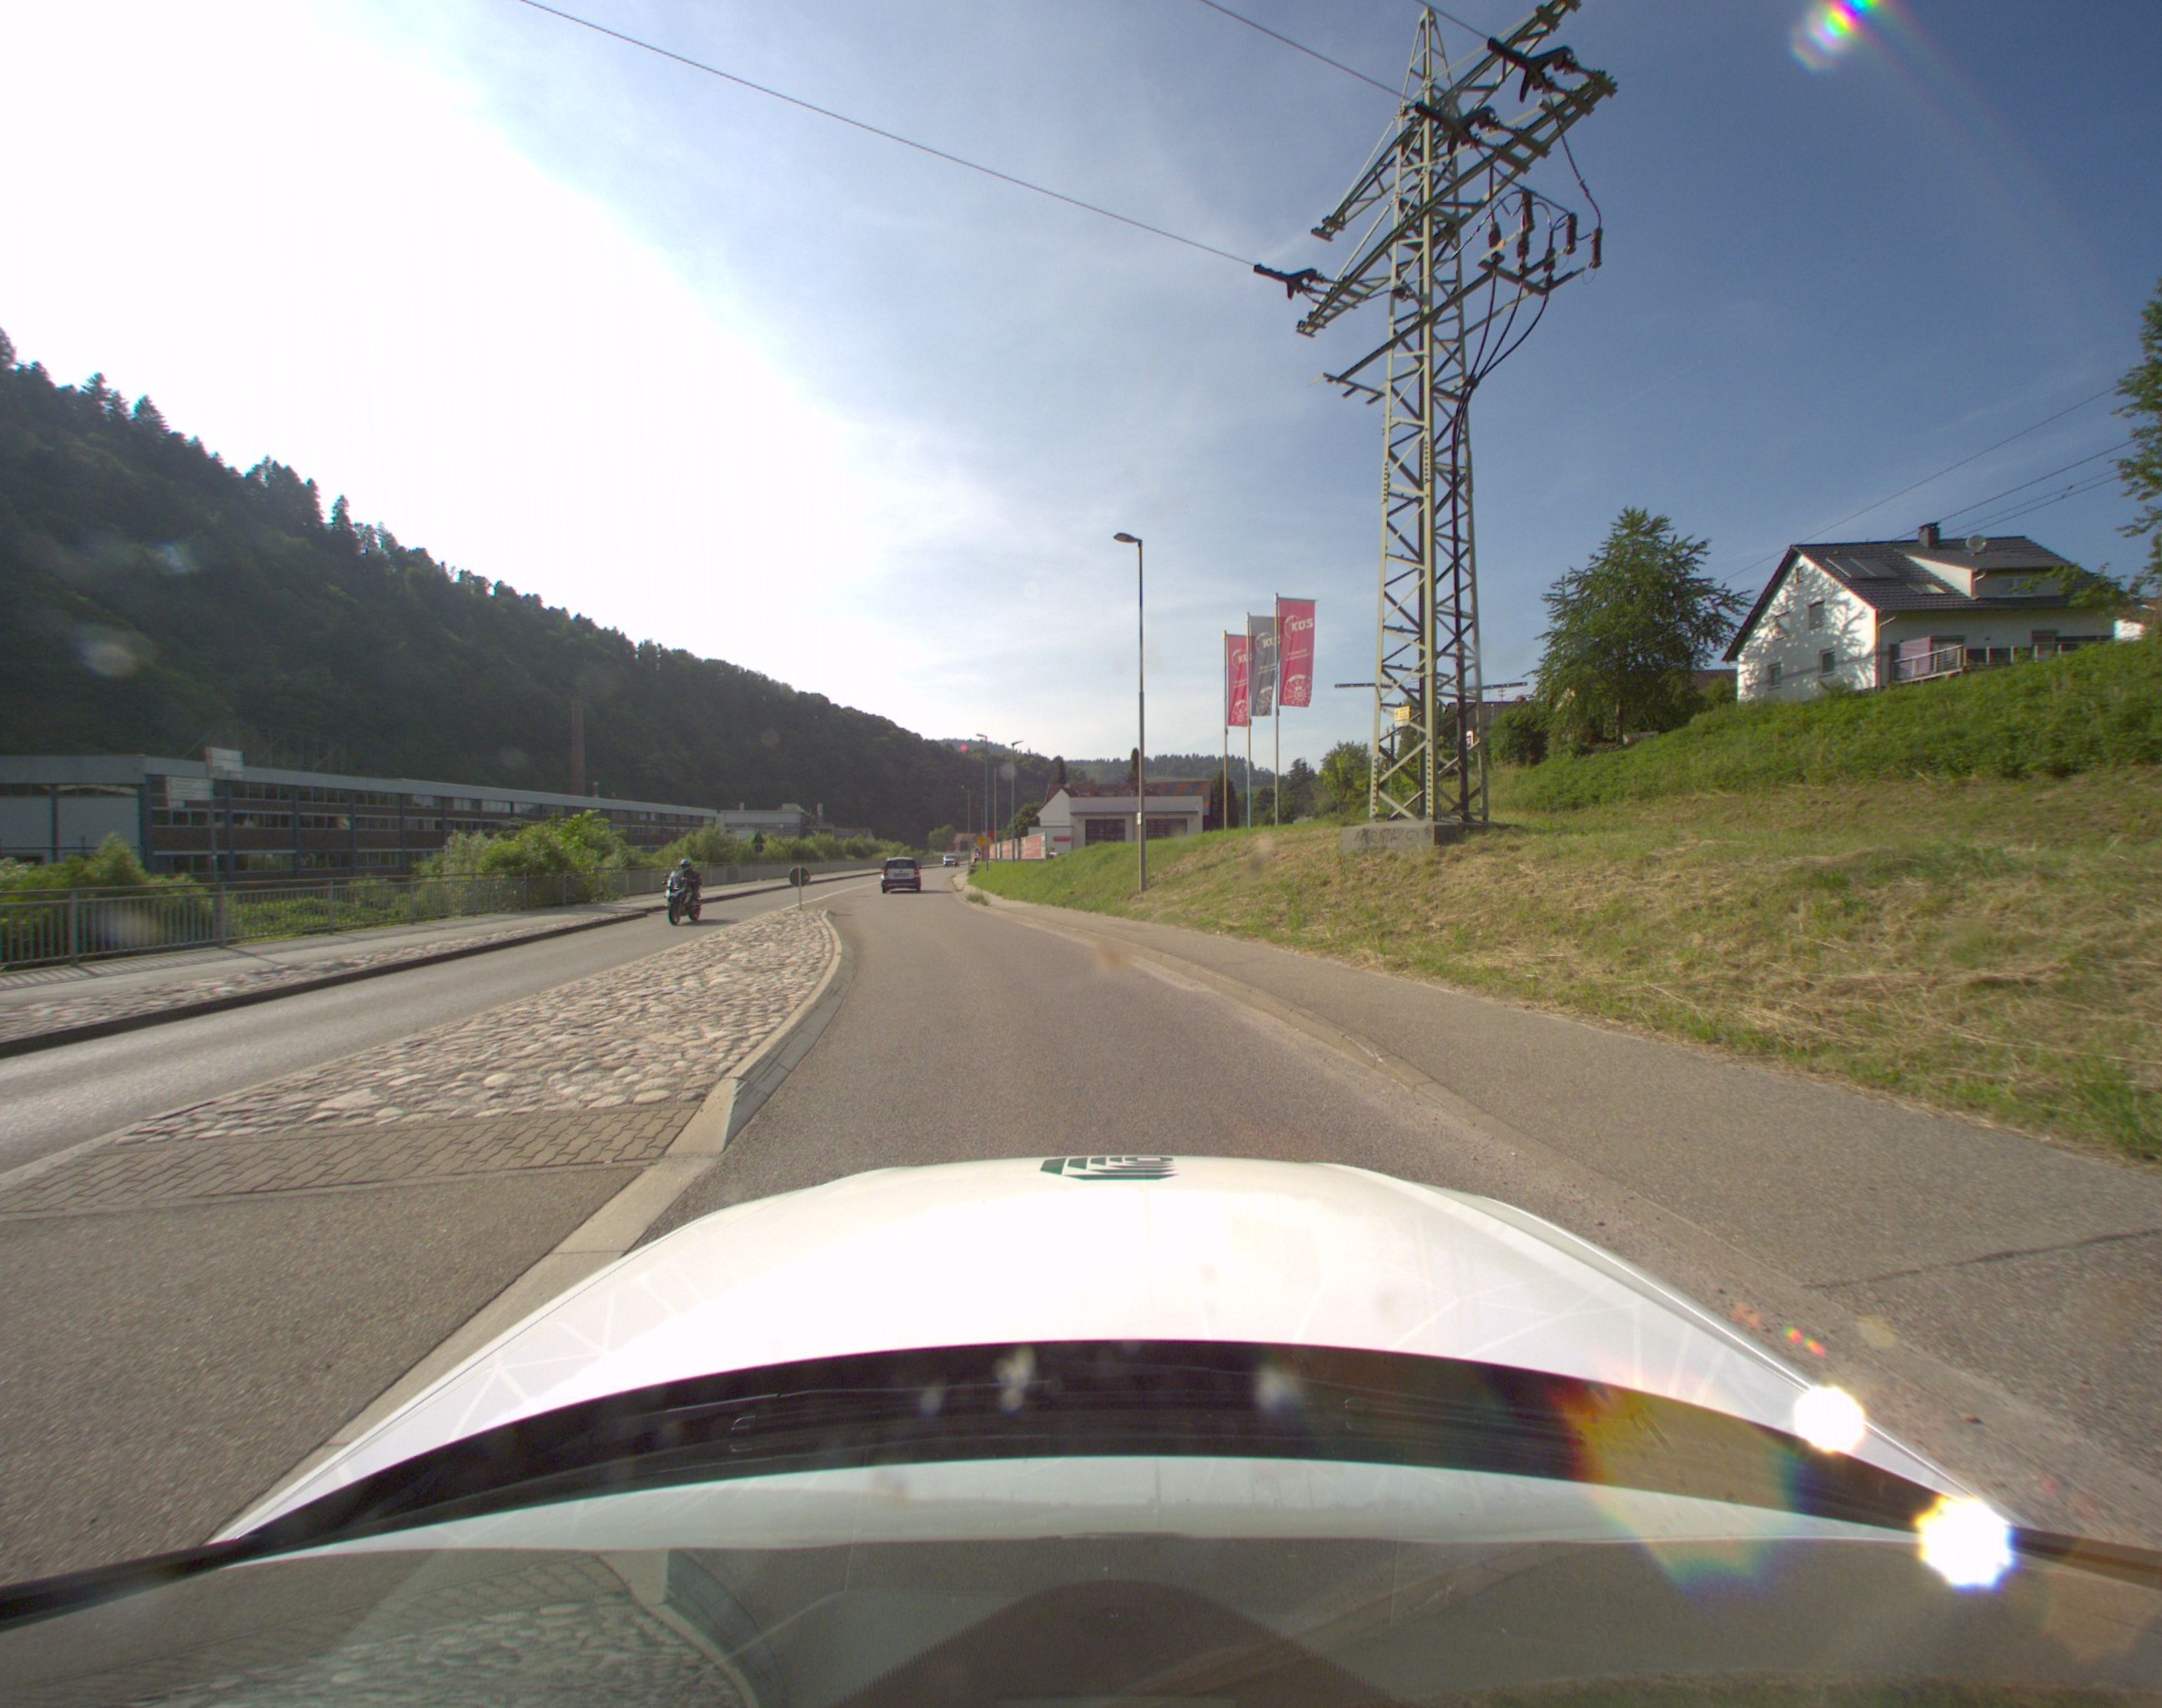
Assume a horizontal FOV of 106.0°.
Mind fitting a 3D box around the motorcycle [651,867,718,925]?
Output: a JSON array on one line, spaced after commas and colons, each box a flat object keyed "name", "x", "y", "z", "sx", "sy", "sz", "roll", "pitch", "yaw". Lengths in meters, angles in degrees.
[{"name": "motorcycle", "x": -10.806, "y": 1.104, "z": 22.287, "sx": 0.771, "sy": 1.422, "sz": 2.316, "roll": -2, "pitch": 0, "yaw": -3}]

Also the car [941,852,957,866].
[{"name": "car", "x": -20.219, "y": 0.799, "z": 124.967, "sx": 1.917, "sy": 1.967, "sz": 5.137, "roll": -1, "pitch": -1, "yaw": -5}]

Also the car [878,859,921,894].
[{"name": "car", "x": -8.598, "y": 1.008, "z": 38.820, "sx": 1.862, "sy": 1.544, "sz": 4.355, "roll": 0, "pitch": 0, "yaw": -12}]

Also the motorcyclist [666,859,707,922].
[{"name": "motorcyclist", "x": -10.799, "y": 0.988, "z": 22.306, "sx": 0.761, "sy": 1.678, "sz": 0.726, "roll": -1, "pitch": -1, "yaw": -2}]
